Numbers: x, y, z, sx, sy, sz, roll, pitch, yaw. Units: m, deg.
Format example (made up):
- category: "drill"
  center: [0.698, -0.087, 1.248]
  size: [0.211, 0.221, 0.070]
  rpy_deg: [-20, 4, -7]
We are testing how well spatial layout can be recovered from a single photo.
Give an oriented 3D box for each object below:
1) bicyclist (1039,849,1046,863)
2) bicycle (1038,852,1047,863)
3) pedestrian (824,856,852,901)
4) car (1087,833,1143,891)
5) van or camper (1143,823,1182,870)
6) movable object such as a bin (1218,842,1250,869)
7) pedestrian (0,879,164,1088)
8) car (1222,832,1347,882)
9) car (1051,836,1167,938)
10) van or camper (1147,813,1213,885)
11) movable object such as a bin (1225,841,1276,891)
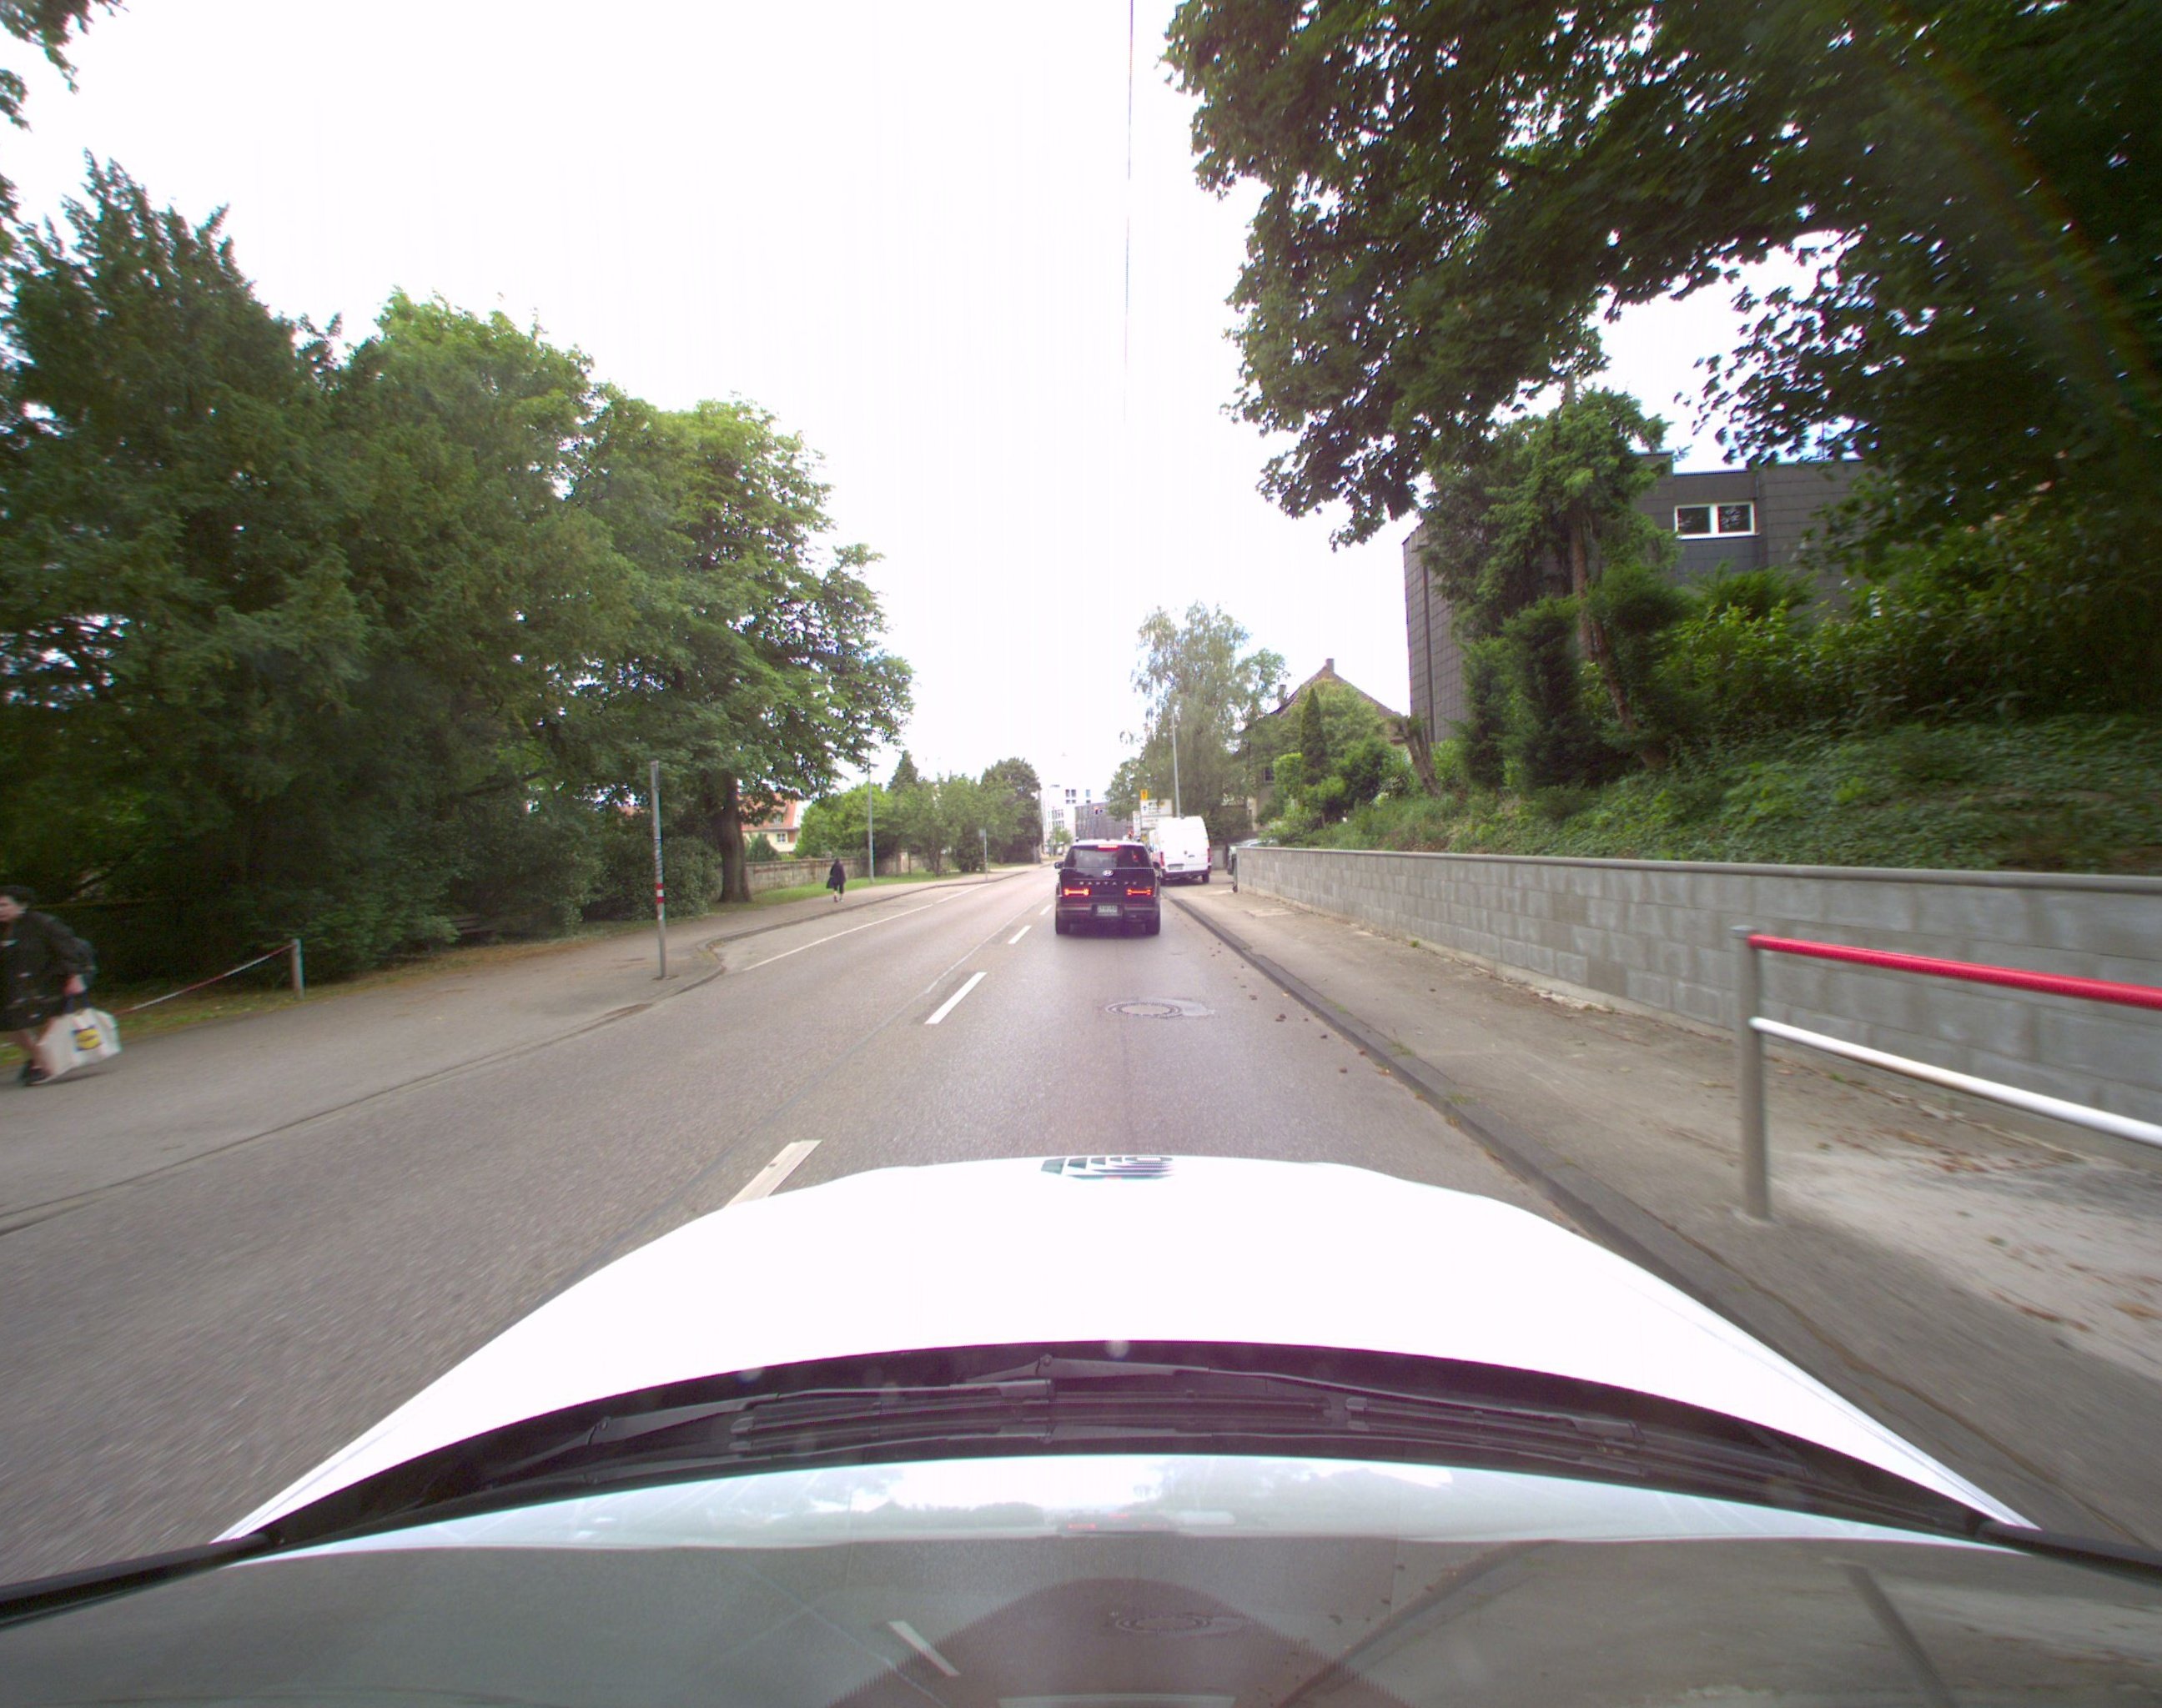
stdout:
- category: "bicyclist"
  center: [-4.519, 0.272, 96.516]
  size: [0.675, 1.659, 0.855]
  rpy_deg: [0, -2, -12]
- category: "bicycle"
  center: [-4.518, 0.446, 96.483]
  size: [0.675, 1.279, 2.490]
  rpy_deg: [0, -1, -12]
- category: "pedestrian"
  center: [-8.698, 0.862, 29.134]
  size: [0.747, 1.578, 0.965]
  rpy_deg: [-1, 0, -5]
- category: "car"
  center: [1.240, 0.271, 30.776]
  size: [1.956, 2.001, 4.001]
  rpy_deg: [-1, 0, 1]
- category: "van or camper"
  center: [5.249, -0.491, 53.065]
  size: [1.957, 2.797, 5.288]
  rpy_deg: [-4, 0, 1]
- category: "movable object such as a bin"
  center: [8.851, 0.079, 47.179]
  size: [1.446, 1.473, 1.715]
  rpy_deg: [-1, 0, -4]
- category: "pedestrian"
  center: [-8.315, 0.997, 6.650]
  size: [0.933, 1.560, 0.892]
  rpy_deg: [0, -1, -38]
- category: "car"
  center: [7.776, 0.095, 31.415]
  size: [4.376, 1.652, 1.831]
  rpy_deg: [-3, 0, 3]
- category: "car"
  center: [0.542, 0.543, 15.842]
  size: [1.956, 1.711, 4.002]
  rpy_deg: [-1, 0, 2]
- category: "van or camper"
  center: [4.034, -0.211, 34.253]
  size: [1.957, 2.627, 6.360]
  rpy_deg: [-4, 0, 1]
- category: "movable object such as a bin"
  center: [5.249, 0.365, 25.349]
  size: [1.295, 1.450, 1.181]
  rpy_deg: [-3, 0, 2]
